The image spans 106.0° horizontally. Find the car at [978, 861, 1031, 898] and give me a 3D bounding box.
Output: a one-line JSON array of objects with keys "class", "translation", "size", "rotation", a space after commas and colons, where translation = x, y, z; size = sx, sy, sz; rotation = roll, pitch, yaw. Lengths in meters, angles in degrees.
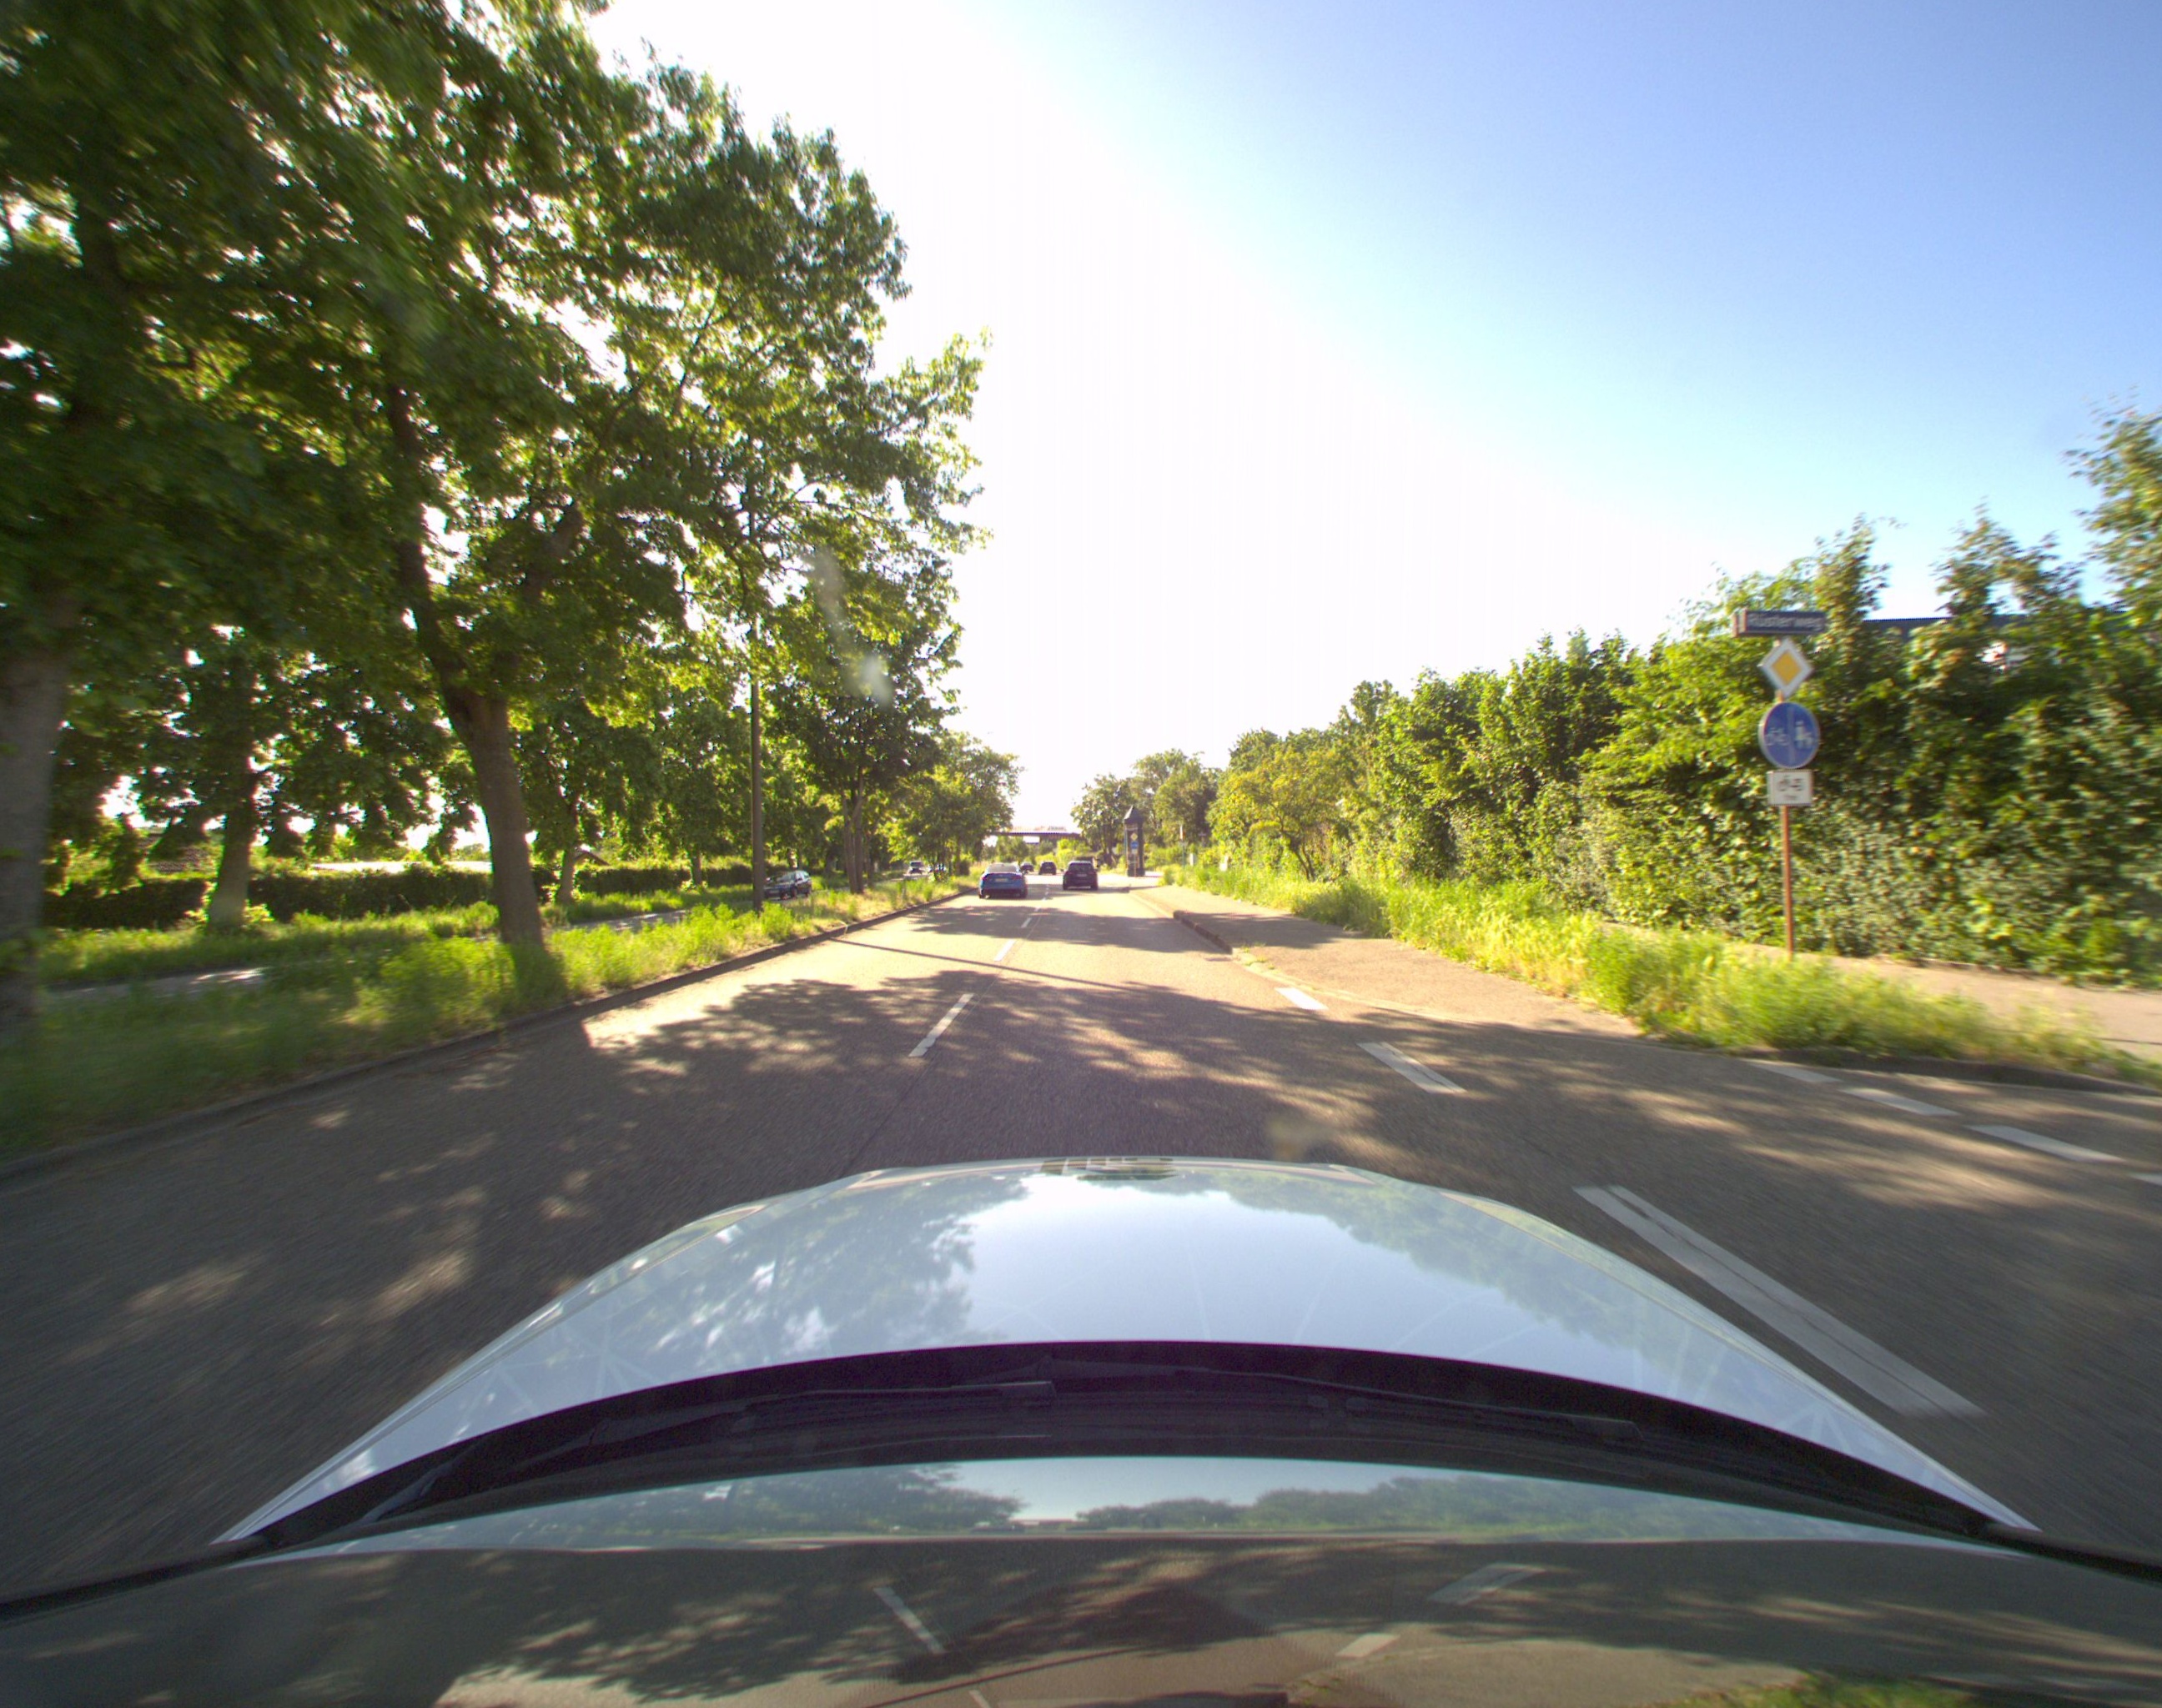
[{"class": "car", "translation": [-3.106, 1.006, 33.873], "size": [1.990, 1.405, 3.995], "rotation": [-2, 0, -3]}]

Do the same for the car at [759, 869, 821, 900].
[{"class": "car", "translation": [-15.350, 1.569, 43.260], "size": [1.689, 1.436, 4.934], "rotation": [-3, 0, -3]}]

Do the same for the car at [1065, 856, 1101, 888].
[{"class": "car", "translation": [0.096, 0.952, 42.289], "size": [1.755, 1.559, 3.998], "rotation": [0, -2, -1]}]

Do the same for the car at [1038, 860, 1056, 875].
[{"class": "car", "translation": [-3.743, 1.437, 88.776], "size": [1.741, 1.597, 4.166], "rotation": [-1, 0, -6]}]

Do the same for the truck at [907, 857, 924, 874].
[{"class": "truck", "translation": [-27.698, 1.940, 136.289], "size": [2.177, 2.512, 5.710], "rotation": [-4, 0, -16]}]

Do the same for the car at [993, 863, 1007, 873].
[{"class": "car", "translation": [-12.448, 2.131, 124.723], "size": [1.897, 1.356, 3.989], "rotation": [-1, 0, -8]}]

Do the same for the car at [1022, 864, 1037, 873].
[{"class": "car", "translation": [-7.703, 2.135, 121.173], "size": [1.897, 1.356, 3.989], "rotation": [-1, 0, -8]}]
